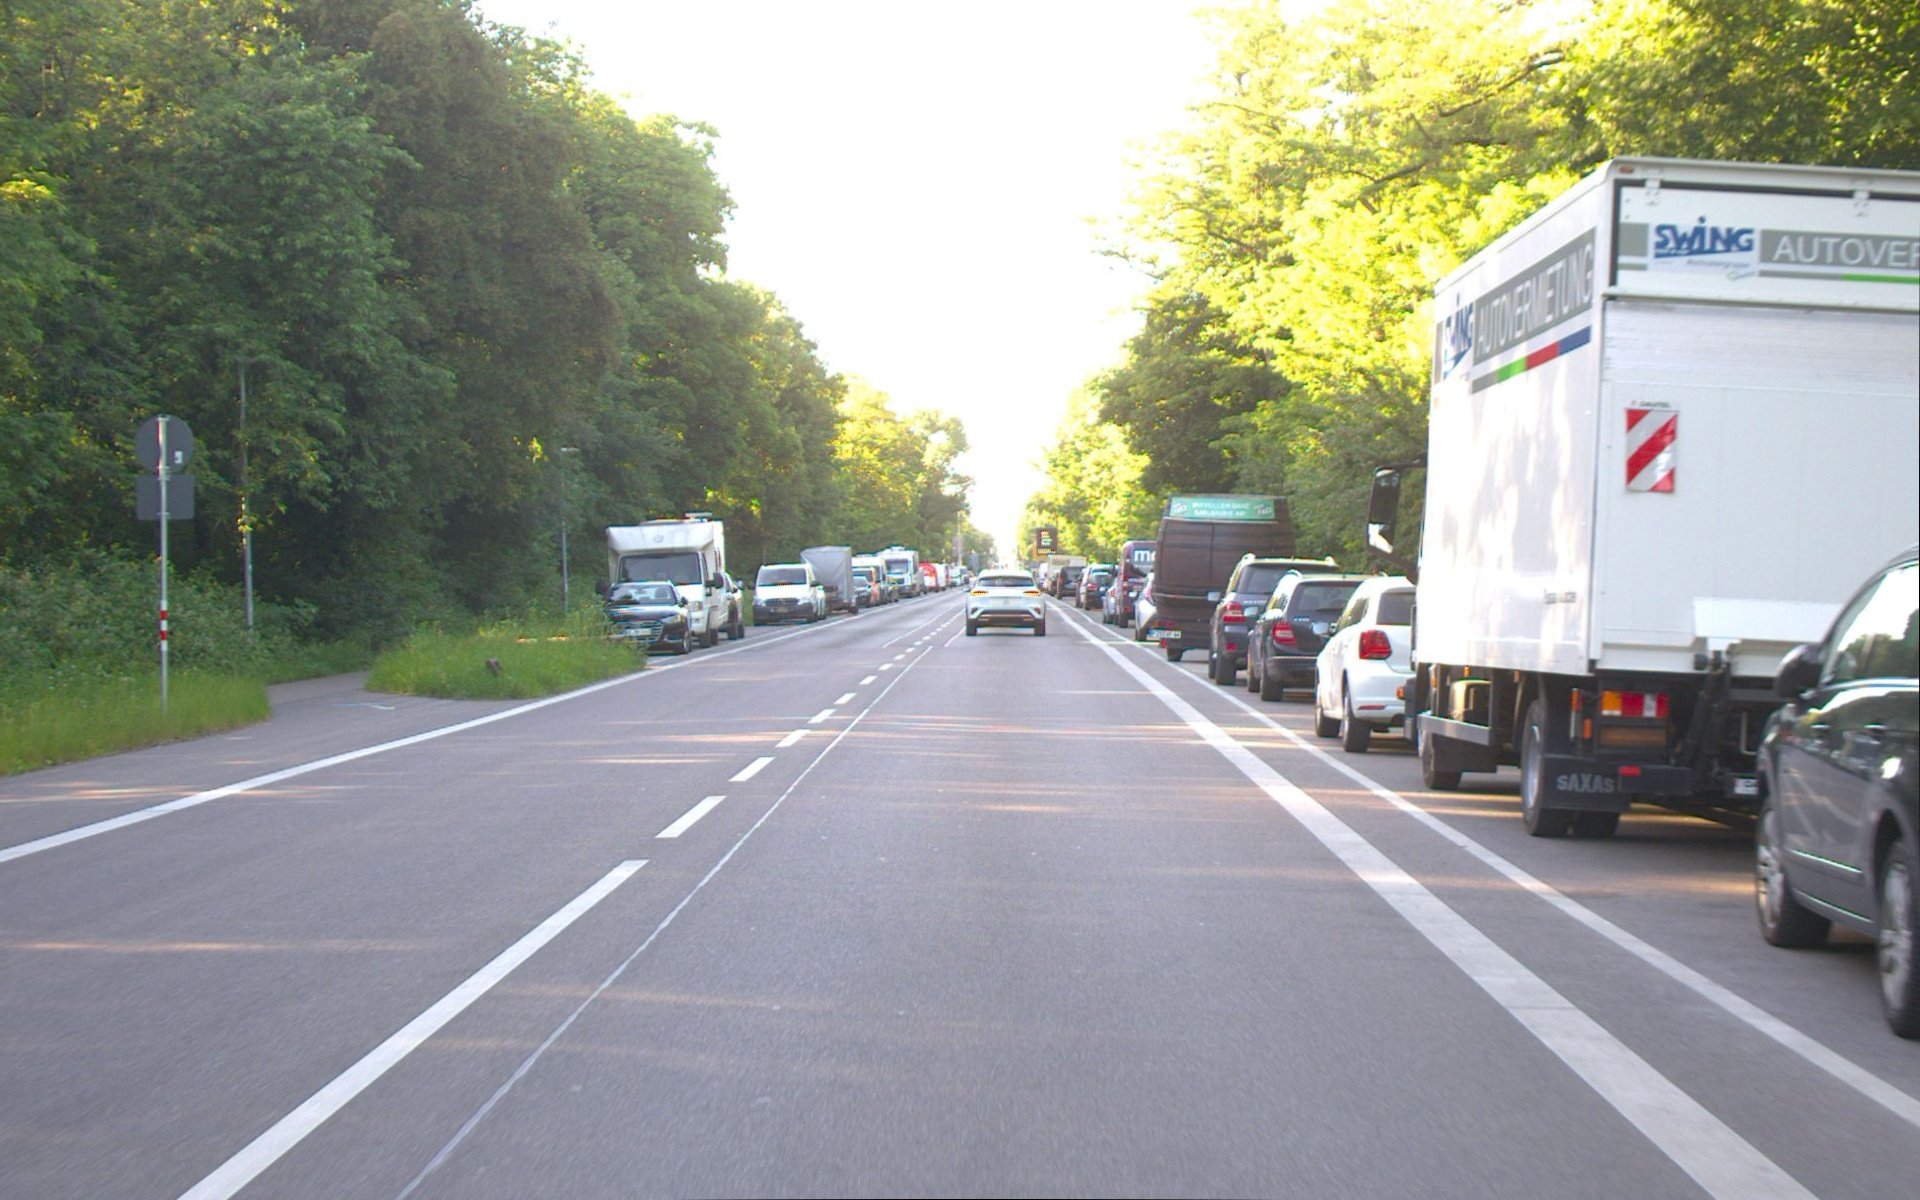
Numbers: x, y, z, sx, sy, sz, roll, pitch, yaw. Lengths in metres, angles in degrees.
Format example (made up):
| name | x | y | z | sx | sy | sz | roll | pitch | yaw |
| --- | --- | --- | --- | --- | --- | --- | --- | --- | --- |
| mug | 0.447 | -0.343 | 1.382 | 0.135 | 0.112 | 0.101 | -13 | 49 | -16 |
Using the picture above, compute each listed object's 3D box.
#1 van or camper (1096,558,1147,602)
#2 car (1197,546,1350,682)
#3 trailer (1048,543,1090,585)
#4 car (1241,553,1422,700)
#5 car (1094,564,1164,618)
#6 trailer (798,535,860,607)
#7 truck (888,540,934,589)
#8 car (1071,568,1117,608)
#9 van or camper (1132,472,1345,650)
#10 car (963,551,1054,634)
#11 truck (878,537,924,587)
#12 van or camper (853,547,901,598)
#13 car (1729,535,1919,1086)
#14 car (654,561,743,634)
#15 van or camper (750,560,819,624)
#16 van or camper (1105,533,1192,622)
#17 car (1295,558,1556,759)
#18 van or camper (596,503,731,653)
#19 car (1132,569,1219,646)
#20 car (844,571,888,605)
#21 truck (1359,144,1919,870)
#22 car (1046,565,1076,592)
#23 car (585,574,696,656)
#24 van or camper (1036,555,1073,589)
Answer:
| name | x | y | z | sx | sy | sz | roll | pitch | yaw |
| --- | --- | --- | --- | --- | --- | --- | --- | --- | --- |
| van or camper | 6.622 | -0.830 | 141.133 | 1.951 | 1.809 | 4.380 | 0 | 1 | 1 |
| car | 4.084 | 0.140 | 45.293 | 1.712 | 1.659 | 4.551 | 1 | 1 | 2 |
| trailer | 7.585 | -2.509 | 239.431 | 2.757 | 2.860 | 6.588 | -1 | 0 | 1 |
| car | 4.239 | 0.259 | 39.777 | 1.712 | 1.563 | 4.551 | 1 | 1 | 2 |
| car | 4.951 | -0.275 | 101.223 | 1.747 | 1.510 | 4.000 | -2 | 1 | -1 |
| trailer | -4.958 | -1.103 | 130.936 | 1.993 | 2.589 | 4.415 | -3 | 0 | 1 |
| truck | -3.196 | -2.318 | 224.114 | 2.708 | 3.083 | 7.989 | 0 | 0 | 1 |
| car | 5.231 | -0.489 | 134.786 | 1.690 | 1.519 | 4.149 | 1 | 1 | 1 |
| van or camper | 4.791 | -0.679 | 58.008 | 2.442 | 2.790 | 6.552 | -1 | 1 | 14 |
| car | 1.145 | -0.195 | 79.473 | 2.029 | 1.834 | 4.029 | -1 | 1 | 1 |
| truck | -4.003 | -2.579 | 235.282 | 2.708 | 3.336 | 10.923 | 0 | 0 | 1 |
| van or camper | -4.243 | -1.411 | 176.693 | 2.121 | 2.563 | 6.542 | -1 | 0 | 1 |
| car | 3.922 | 0.590 | 12.151 | 1.799 | 1.651 | 4.028 | -1 | 1 | 5 |
| car | -6.212 | -0.090 | 82.161 | 1.646 | 1.626 | 4.273 | -3 | 1 | 1 |
| van or camper | -5.502 | -0.257 | 108.100 | 1.835 | 1.905 | 4.856 | -2 | 1 | 0 |
| van or camper | 5.151 | -0.639 | 94.489 | 2.035 | 2.304 | 6.041 | -1 | 1 | 0 |
| car | 3.921 | 0.445 | 29.536 | 1.712 | 1.563 | 4.000 | 1 | 1 | 1 |
| van or camper | -6.310 | -0.483 | 73.905 | 2.314 | 2.960 | 7.112 | -3 | 1 | -1 |
| car | 4.583 | 0.136 | 73.516 | 1.712 | 1.540 | 4.022 | 1 | 1 | 2 |
| car | -4.299 | -0.578 | 157.732 | 1.731 | 1.473 | 4.324 | -2 | 0 | 1 |
| truck | 4.370 | -0.515 | 20.913 | 2.832 | 3.486 | 8.579 | -1 | 1 | 0 |
| car | 6.405 | -1.378 | 217.531 | 1.841 | 1.656 | 4.000 | -1 | 0 | 2 |
| car | -6.168 | 0.259 | 66.752 | 1.827 | 1.471 | 4.681 | -2 | 1 | -2 |
| van or camper | 5.340 | -1.590 | 194.701 | 1.993 | 1.925 | 5.199 | 1 | 1 | 1 |
